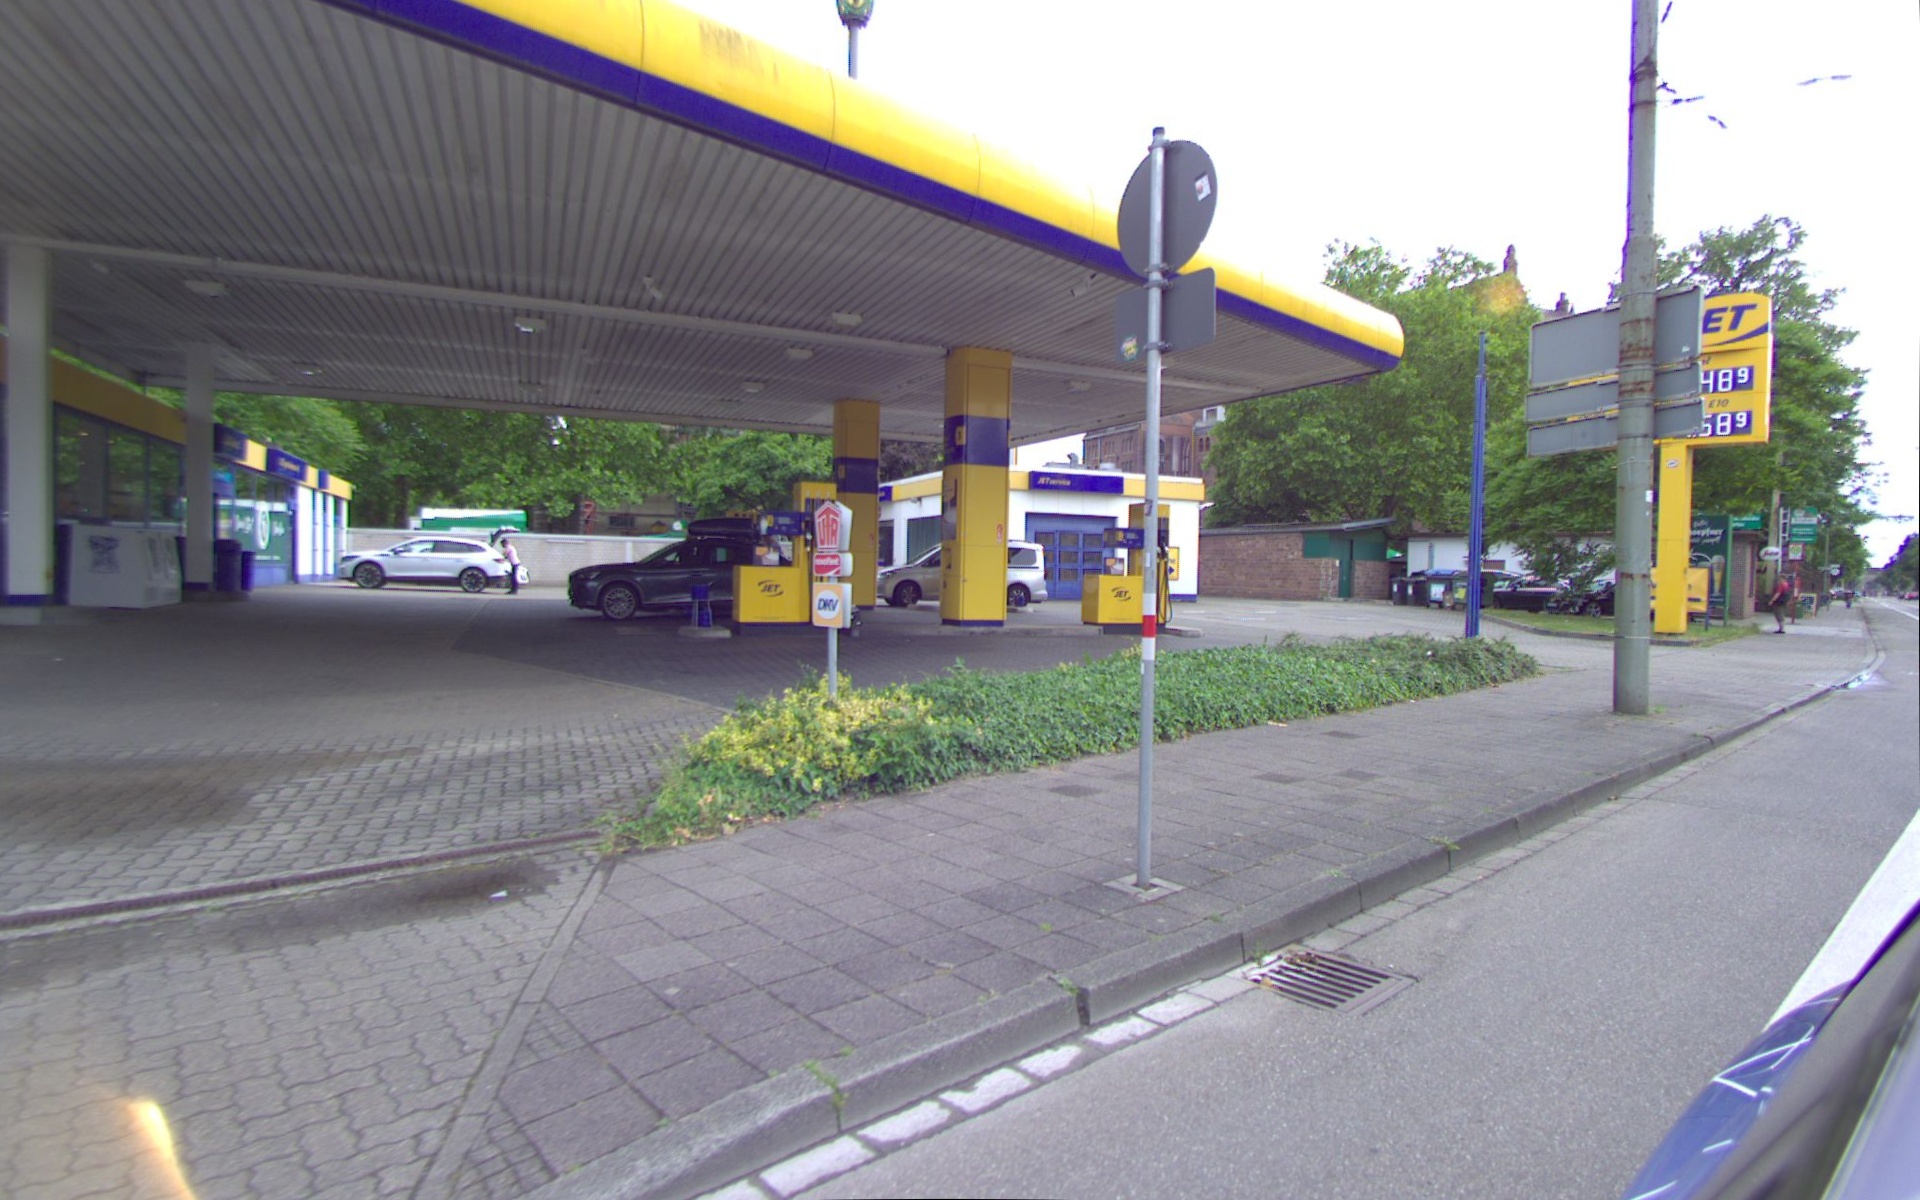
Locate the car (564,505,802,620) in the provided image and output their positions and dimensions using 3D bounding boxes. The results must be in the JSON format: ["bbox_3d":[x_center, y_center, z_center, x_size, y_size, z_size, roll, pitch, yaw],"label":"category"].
[{"bbox_3d":[-5.329,-0.716,19.481,4.166,2.012,1.828,0,3,-25],"label":"car"}]

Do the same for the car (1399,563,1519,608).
[{"bbox_3d":[19.842,-0.590,40.282,3.942,1.716,1.815,0,1,-10],"label":"car"}]

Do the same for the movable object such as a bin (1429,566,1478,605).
[{"bbox_3d":[18.018,-0.530,36.965,1.136,1.375,1.123,0,1,-12],"label":"movable object such as a bin"}]

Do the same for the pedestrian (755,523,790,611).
[{"bbox_3d":[-3.920,-0.688,21.173,0.614,1.809,0.709,0,1,-19],"label":"pedestrian"}]

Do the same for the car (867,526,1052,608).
[{"bbox_3d":[-0.047,-0.878,26.668,4.432,1.865,1.993,2,3,-14],"label":"car"}]

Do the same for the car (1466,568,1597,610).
[{"bbox_3d":[21.431,-0.420,38.031,3.919,1.536,1.829,0,1,-6],"label":"car"}]

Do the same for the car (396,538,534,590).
[{"bbox_3d":[-17.910,-1.278,36.856,4.332,1.606,1.963,2,0,-23],"label":"car"}]

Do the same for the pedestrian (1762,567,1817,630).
[{"bbox_3d":[24.315,-0.057,29.683,0.858,1.768,0.846,4,4,18],"label":"pedestrian"}]

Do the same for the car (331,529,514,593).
[{"bbox_3d":[-15.993,-1.144,30.402,4.662,1.615,1.946,2,1,-24],"label":"car"}]

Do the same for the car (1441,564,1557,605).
[{"bbox_3d":[22.836,-0.682,42.964,3.987,1.687,1.969,1,2,44],"label":"car"}]

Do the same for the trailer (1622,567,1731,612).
[{"bbox_3d":[28.515,-0.447,40.322,3.284,1.549,1.747,5,6,44],"label":"trailer"}]

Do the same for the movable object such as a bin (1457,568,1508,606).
[{"bbox_3d":[18.444,-0.470,35.768,1.136,1.336,1.123,0,1,-12],"label":"movable object such as a bin"}]

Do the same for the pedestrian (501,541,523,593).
[{"bbox_3d":[-13.855,-1.021,31.310,0.539,1.563,0.500,3,0,-19],"label":"pedestrian"}]

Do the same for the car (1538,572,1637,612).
[{"bbox_3d":[21.862,-0.311,35.185,3.933,1.304,1.996,-1,2,-43],"label":"car"}]
